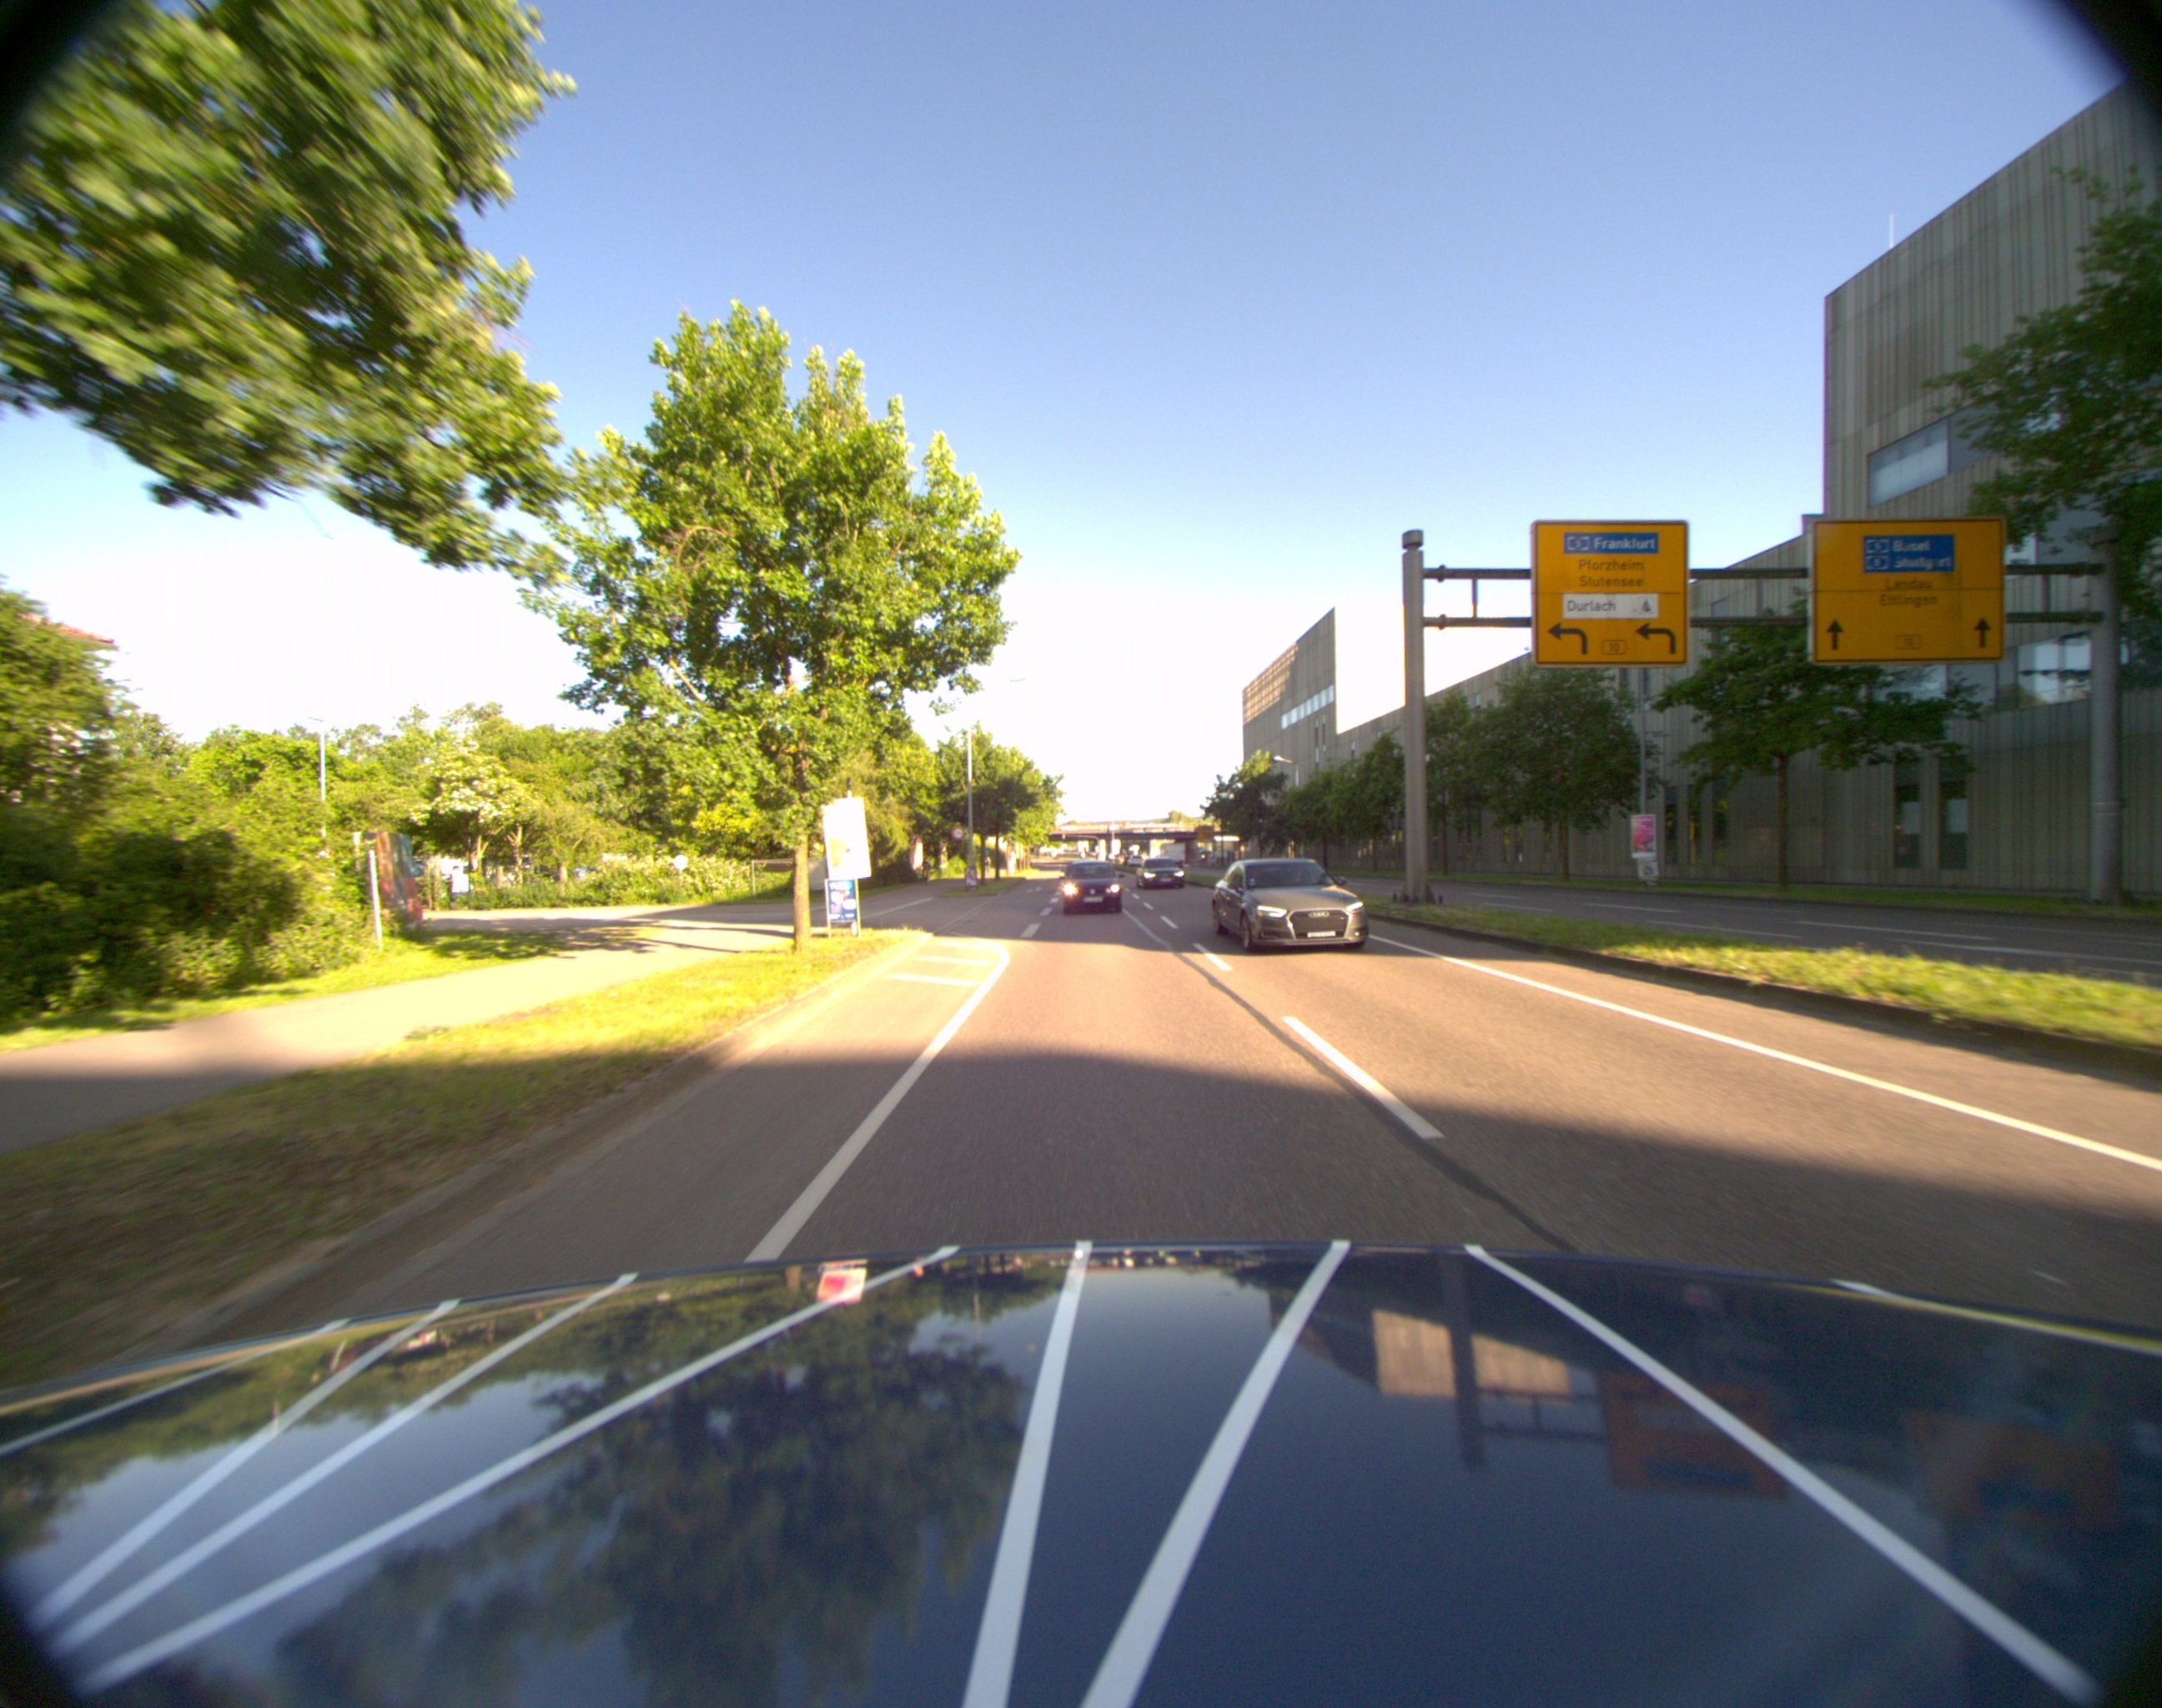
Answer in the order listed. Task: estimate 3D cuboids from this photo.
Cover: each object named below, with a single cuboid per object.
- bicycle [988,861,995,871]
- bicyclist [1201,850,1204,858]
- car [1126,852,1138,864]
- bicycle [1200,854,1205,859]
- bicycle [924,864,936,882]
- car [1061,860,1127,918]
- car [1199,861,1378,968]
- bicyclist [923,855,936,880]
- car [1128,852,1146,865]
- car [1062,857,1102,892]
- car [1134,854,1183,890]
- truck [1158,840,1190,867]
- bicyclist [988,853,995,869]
[{"bbox_3d":[-9.308,1.210,79.190,0.573,0.986,2.046,-1,0,-2],"label":"bicycle"},{"bbox_3d":[22.393,0.042,139.943,0.509,1.434,0.753,-1,0,-2],"label":"bicyclist"},{"bbox_3d":[7.310,0.551,109.090,1.606,1.571,3.212,0,0,-1],"label":"car"},{"bbox_3d":[22.401,0.517,139.951,0.513,0.885,1.754,-1,0,-2],"label":"bicycle"},{"bbox_3d":[-9.357,1.179,47.068,0.517,1.066,1.935,-1,0,-4],"label":"bicycle"},{"bbox_3d":[0.284,0.949,22.286,1.702,1.474,4.051,-2,0,-2],"label":"car"},{"bbox_3d":[3.239,0.865,12.762,1.702,1.396,4.364,-1,0,-1],"label":"car"},{"bbox_3d":[-9.333,0.804,46.851,0.687,1.513,1.035,-1,1,-5],"label":"bicyclist"},{"bbox_3d":[7.356,0.539,100.234,1.829,1.672,4.658,1,0,-2],"label":"car"},{"bbox_3d":[0.007,0.922,35.304,1.702,1.478,3.945,-1,0,-2],"label":"car"},{"bbox_3d":[3.565,0.798,35.552,1.702,1.528,3.945,-3,0,-2],"label":"car"},{"bbox_3d":[10.661,-0.086,87.780,2.693,2.943,7.113,1,0,-1],"label":"truck"},{"bbox_3d":[-9.305,0.700,79.021,0.566,1.600,0.865,-1,1,-2],"label":"bicyclist"}]
